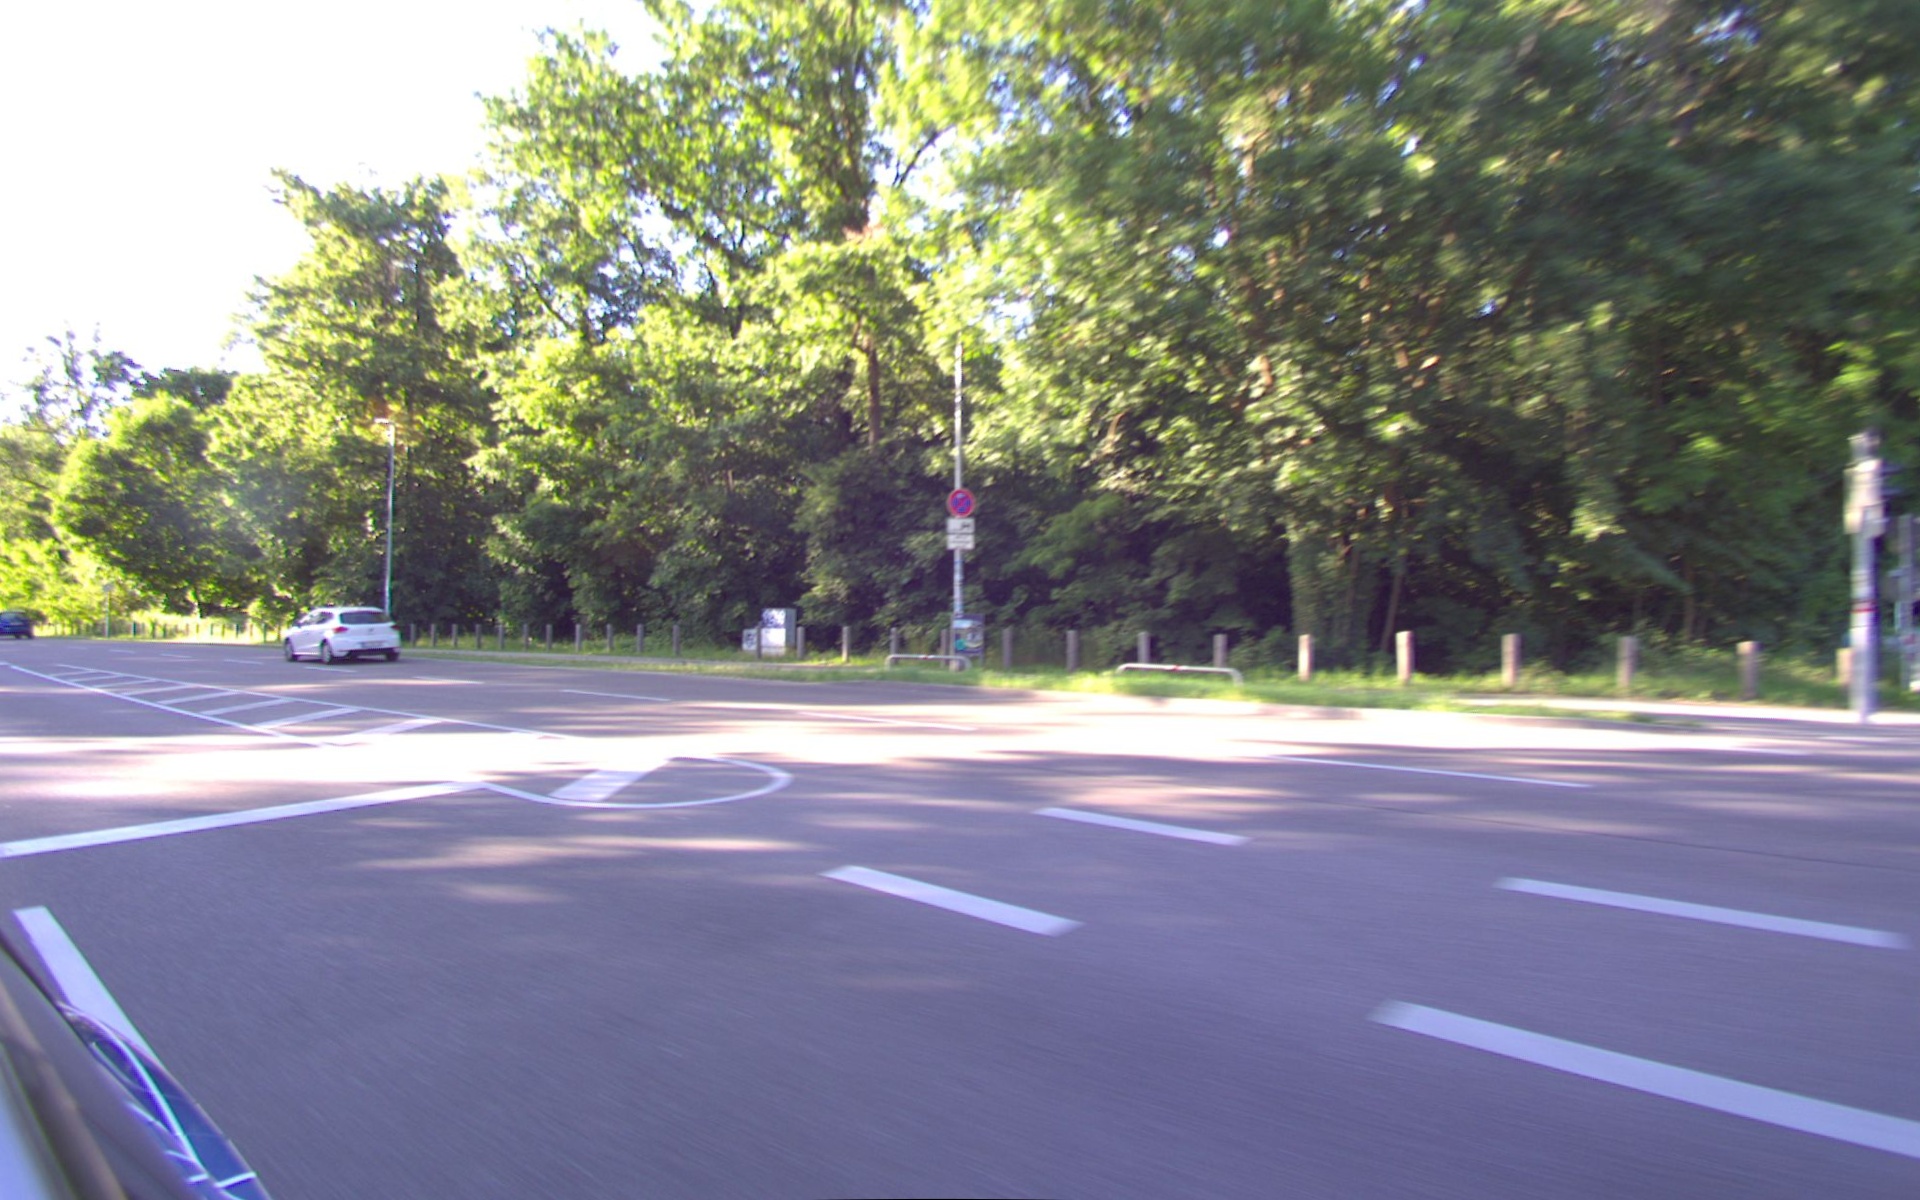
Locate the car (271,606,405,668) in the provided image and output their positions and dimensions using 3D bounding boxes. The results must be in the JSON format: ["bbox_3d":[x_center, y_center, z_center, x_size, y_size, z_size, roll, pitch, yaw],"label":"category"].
[{"bbox_3d":[-16.545,0.936,26.846,4.095,1.475,1.694,-1,0,38],"label":"car"}]

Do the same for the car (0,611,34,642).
[{"bbox_3d":[-49.208,1.347,52.045,3.993,1.519,1.640,-1,-2,37],"label":"car"}]
